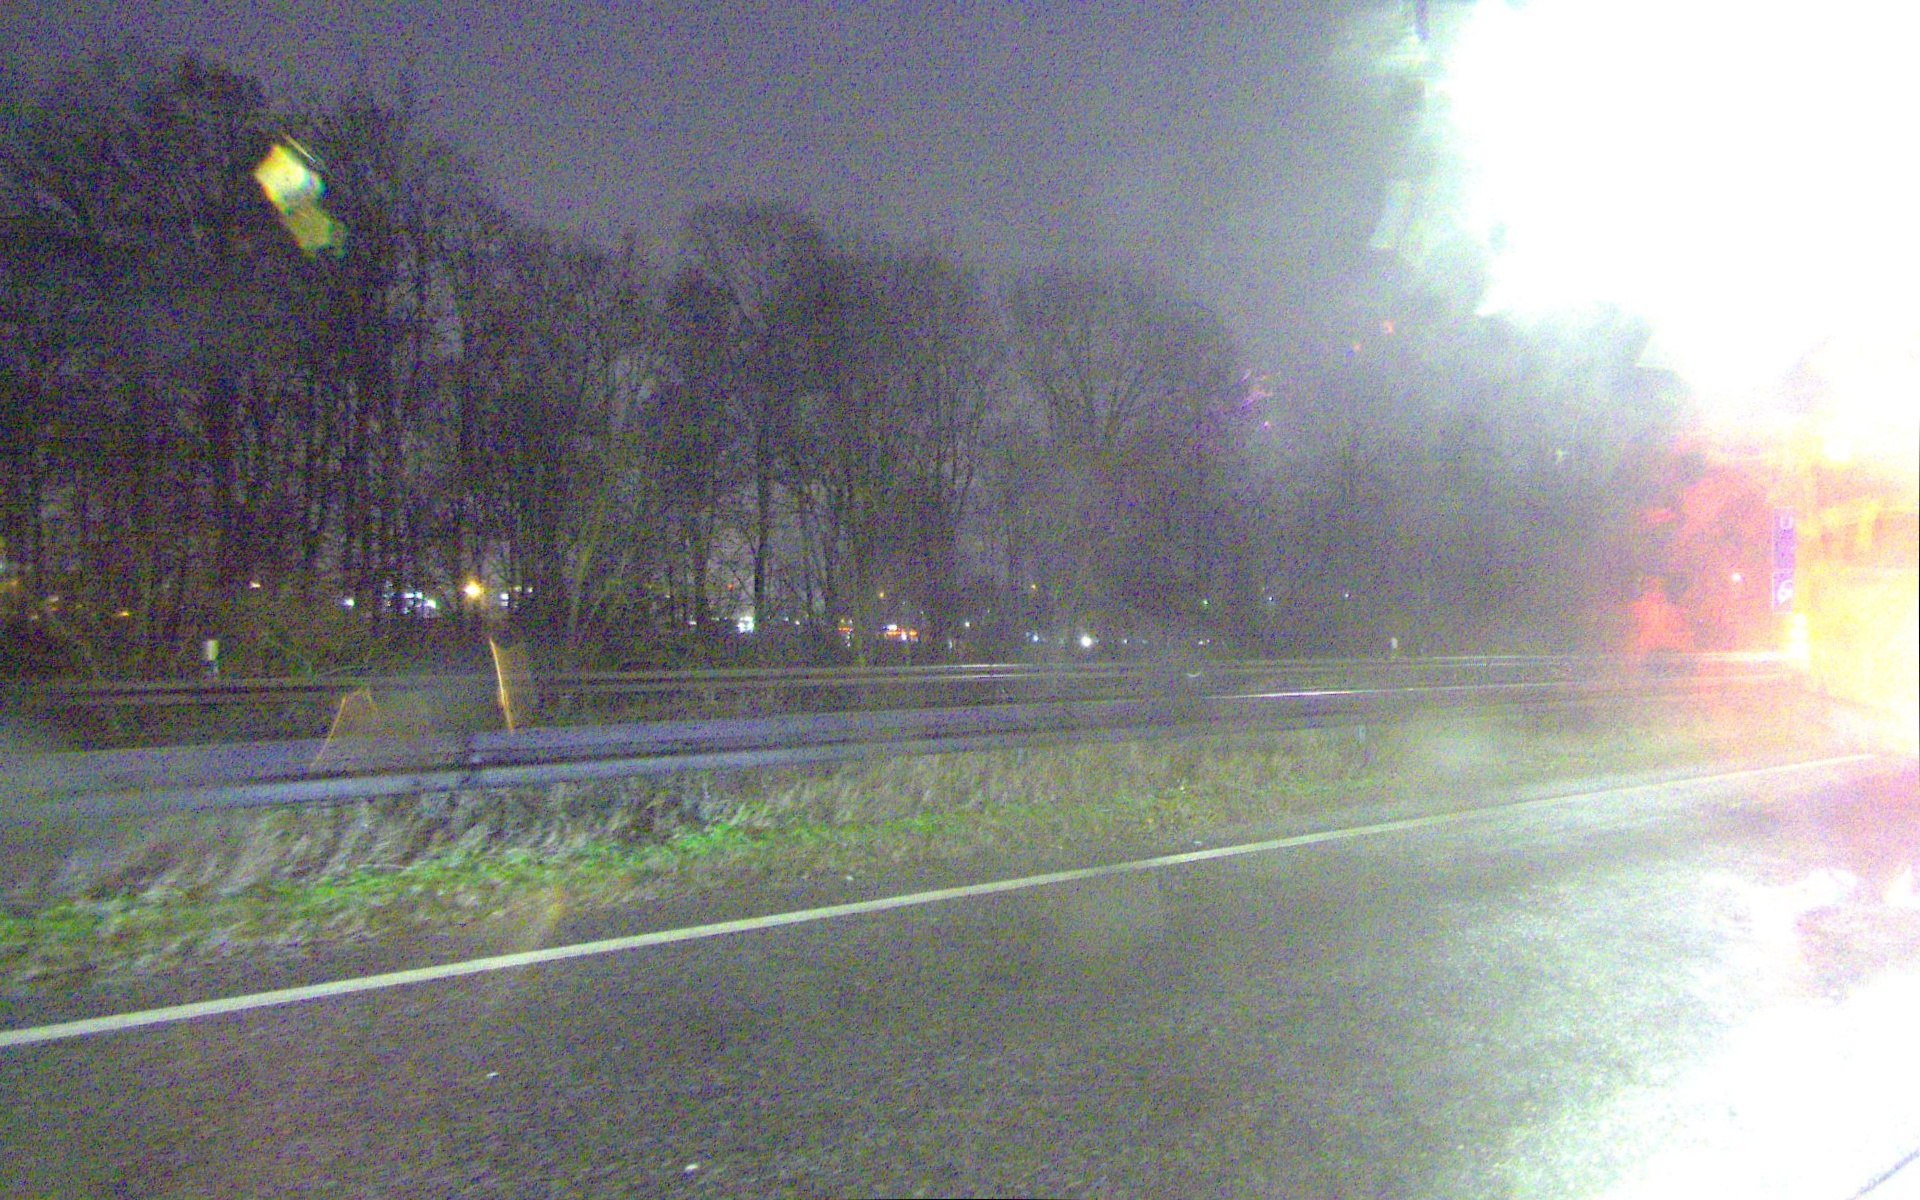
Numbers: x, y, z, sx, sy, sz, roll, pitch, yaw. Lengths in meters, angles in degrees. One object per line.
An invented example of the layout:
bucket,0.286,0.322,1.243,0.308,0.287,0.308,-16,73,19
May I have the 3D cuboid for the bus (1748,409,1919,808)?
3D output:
bus,11.148,0.140,9.753,8.591,3.064,2.800,1,0,-32
